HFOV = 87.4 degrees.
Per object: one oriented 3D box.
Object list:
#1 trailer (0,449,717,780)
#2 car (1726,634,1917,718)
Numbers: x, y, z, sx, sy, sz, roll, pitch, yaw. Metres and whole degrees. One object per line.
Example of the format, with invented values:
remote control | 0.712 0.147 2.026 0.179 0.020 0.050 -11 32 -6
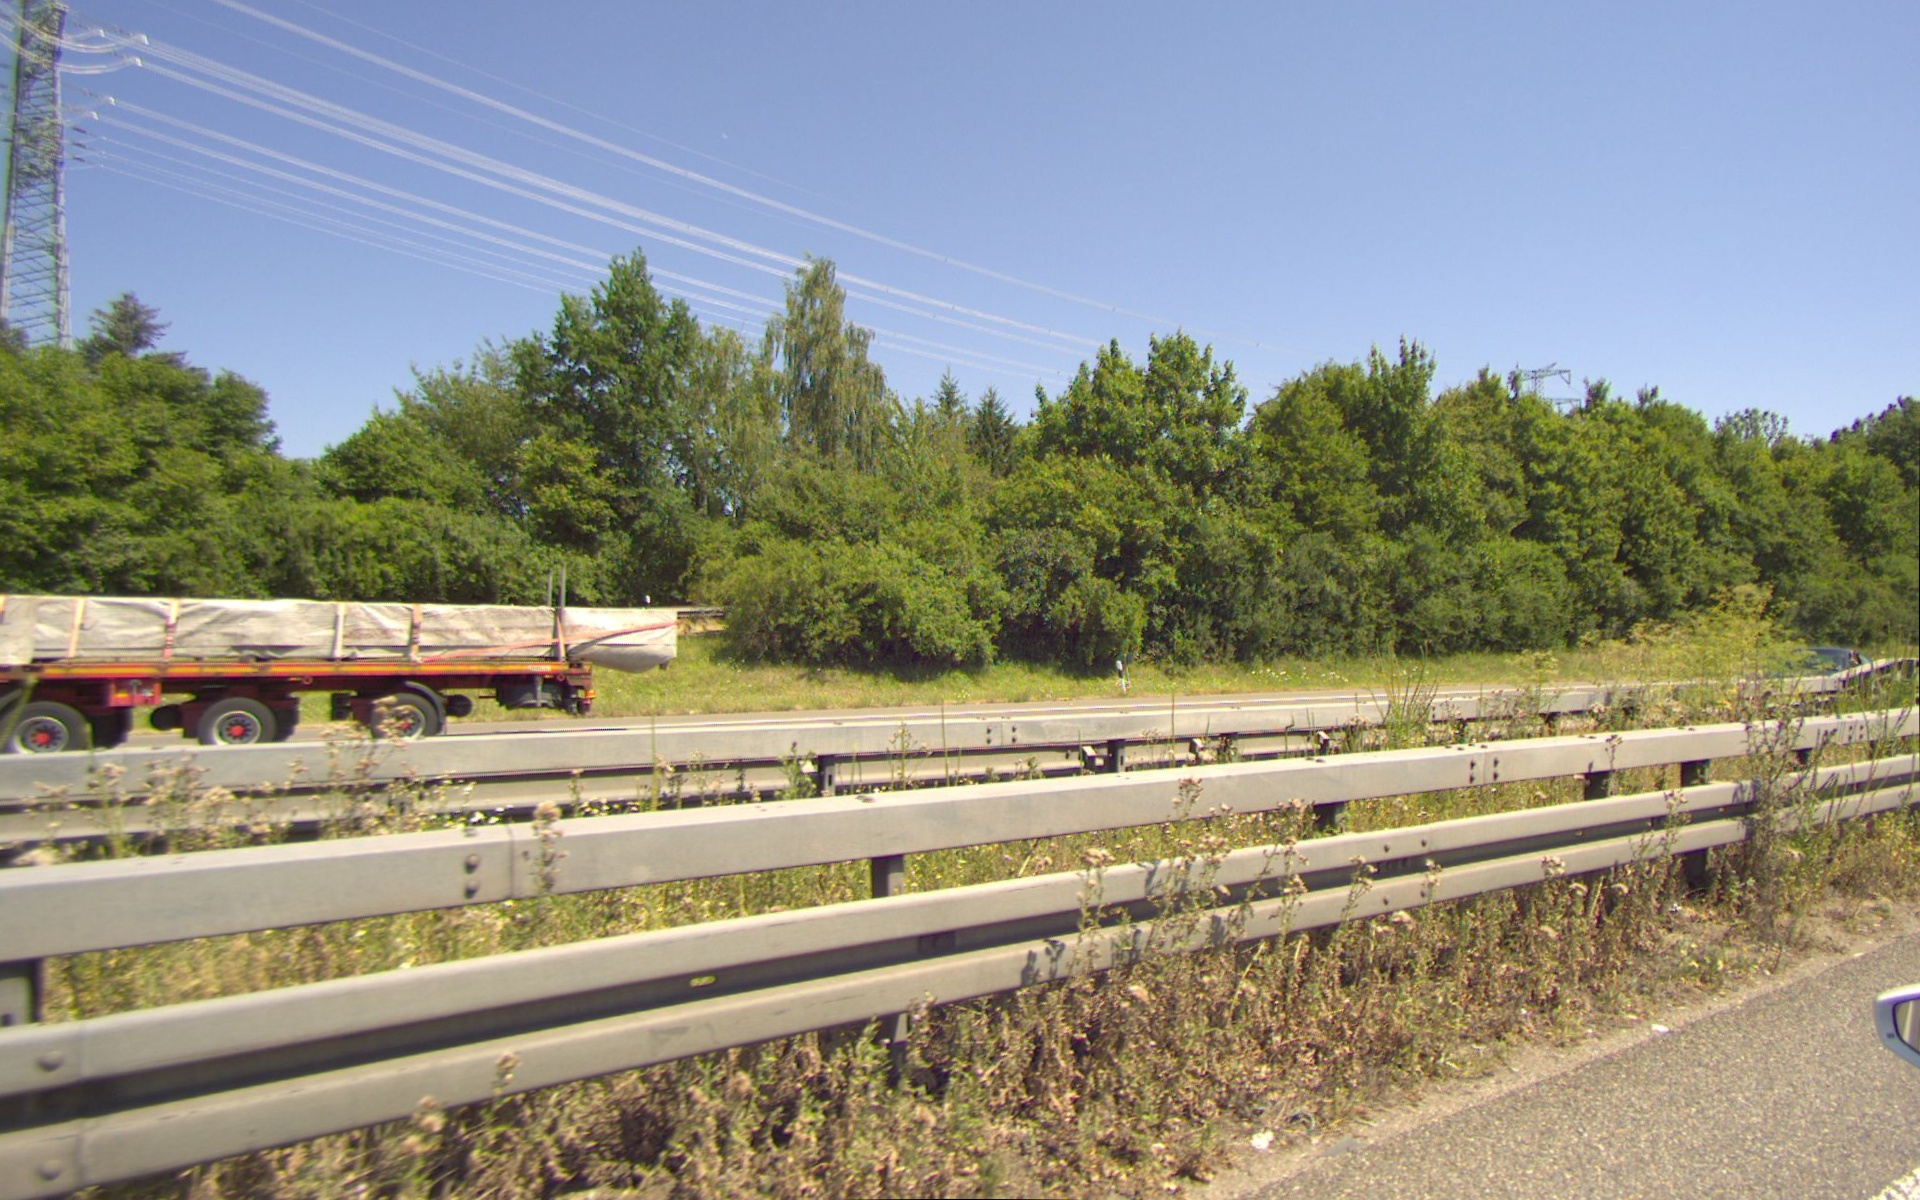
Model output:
trailer | -11.193 0.183 12.260 15.838 3.605 2.981 2 -2 -31
car | 17.308 1.464 20.160 3.953 1.546 1.716 1 -3 -31
